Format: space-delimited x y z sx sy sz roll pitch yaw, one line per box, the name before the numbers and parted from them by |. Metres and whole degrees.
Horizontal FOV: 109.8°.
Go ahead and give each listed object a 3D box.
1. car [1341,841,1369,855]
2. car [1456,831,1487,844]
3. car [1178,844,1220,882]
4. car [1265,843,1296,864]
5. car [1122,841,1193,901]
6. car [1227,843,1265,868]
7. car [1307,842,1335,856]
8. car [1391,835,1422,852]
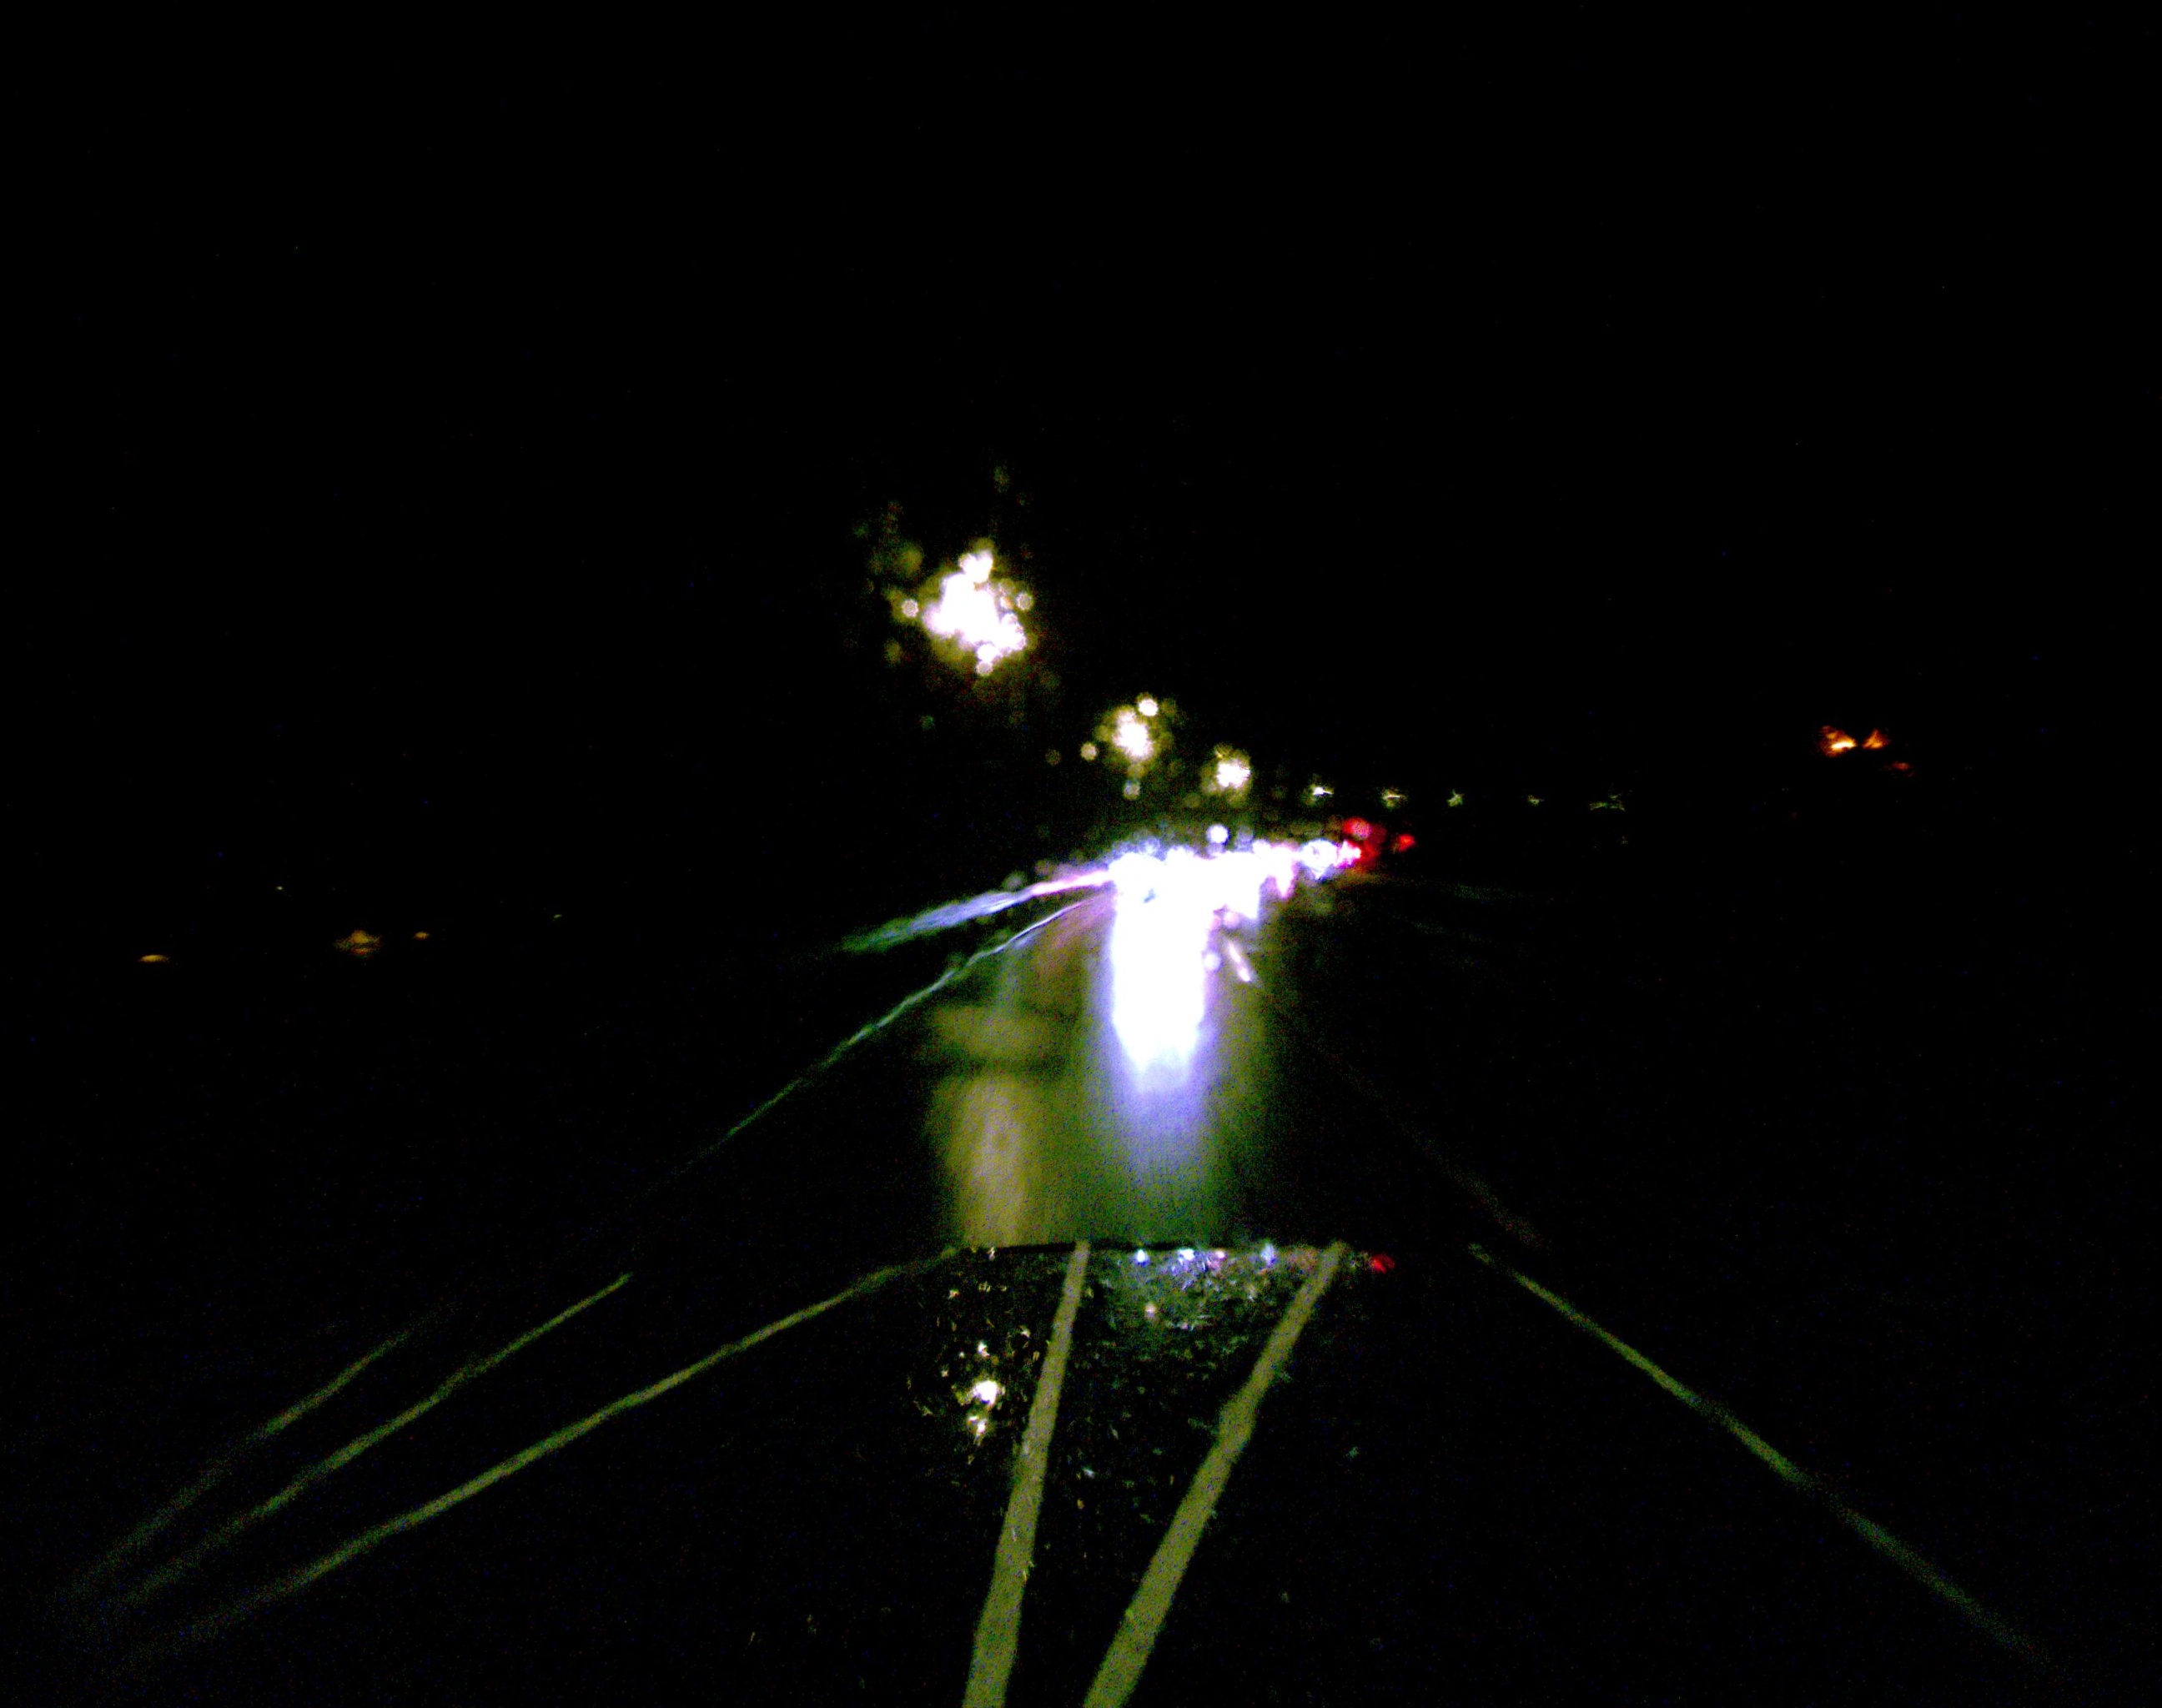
car | 30.781 -0.717 85.313 1.995 1.475 4.008 -2 0 33
car | 59.173 -2.509 114.989 4.424 1.924 2.375 -2 0 -35
car | 6.516 0.477 41.658 1.997 1.923 4.004 -2 0 13
car | 19.230 -0.031 73.157 1.995 1.923 4.007 -2 0 27
car | 2.703 0.530 26.171 1.935 1.861 4.004 -2 0 12
car | 13.152 0.094 60.388 1.995 1.923 4.007 -2 0 27
car | 27.190 -0.576 85.856 1.995 1.475 4.008 -2 0 33
car | 42.607 -1.390 99.405 2.374 2.079 4.426 -2 0 42
